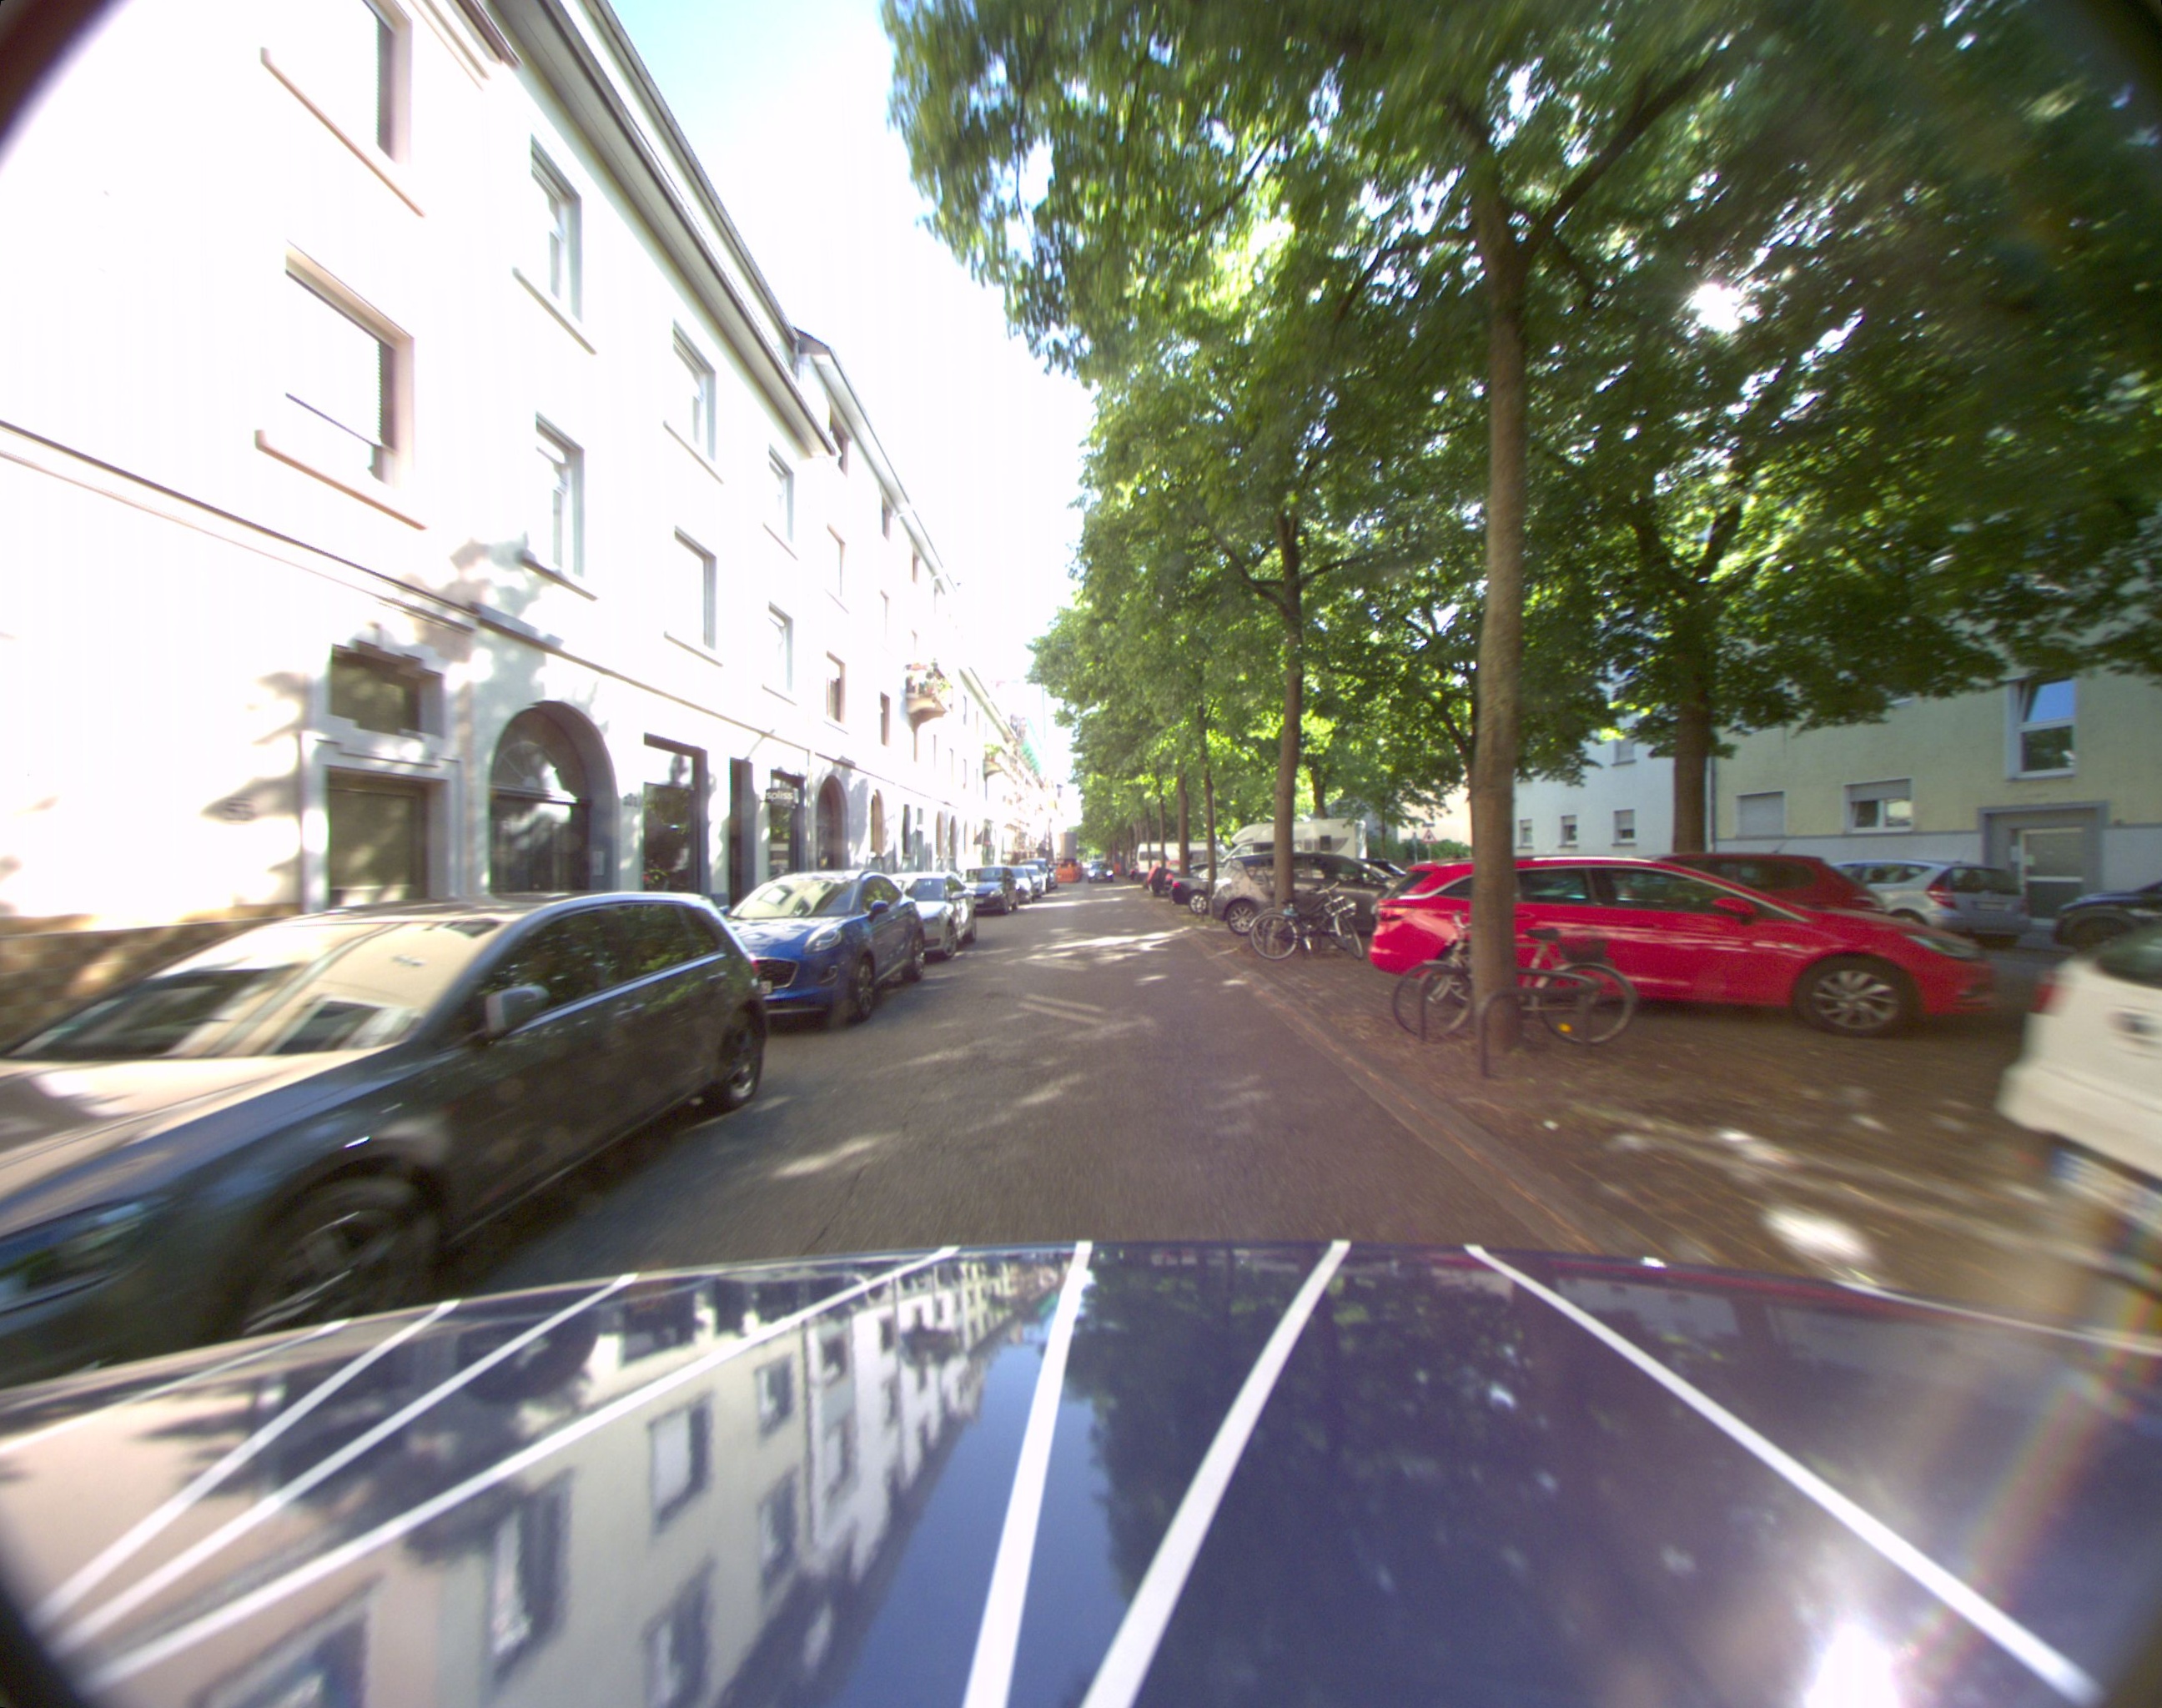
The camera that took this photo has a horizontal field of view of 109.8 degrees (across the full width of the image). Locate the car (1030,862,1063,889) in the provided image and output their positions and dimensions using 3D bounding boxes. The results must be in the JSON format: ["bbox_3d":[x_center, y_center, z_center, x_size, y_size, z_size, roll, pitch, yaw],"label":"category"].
[{"bbox_3d":[-2.038,1.261,45.891,1.709,1.502,4.284,0,0,1],"label":"car"}]

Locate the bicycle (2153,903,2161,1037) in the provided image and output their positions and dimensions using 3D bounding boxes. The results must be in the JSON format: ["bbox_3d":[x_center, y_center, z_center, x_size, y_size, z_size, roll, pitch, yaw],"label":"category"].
[{"bbox_3d":[9.574,0.920,5.882,1.756,1.081,0.389,-1,0,7],"label":"bicycle"}]

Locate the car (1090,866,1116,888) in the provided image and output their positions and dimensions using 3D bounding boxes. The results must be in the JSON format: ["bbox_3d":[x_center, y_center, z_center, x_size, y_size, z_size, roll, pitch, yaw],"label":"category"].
[{"bbox_3d":[1.618,1.646,54.644,1.792,1.510,4.001,0,0,4],"label":"car"}]

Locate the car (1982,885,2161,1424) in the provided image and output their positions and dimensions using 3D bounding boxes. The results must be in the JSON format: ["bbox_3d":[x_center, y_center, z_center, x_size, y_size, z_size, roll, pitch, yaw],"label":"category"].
[{"bbox_3d":[4.862,0.872,1.412,3.685,1.586,1.776,-2,0,26],"label":"car"}]

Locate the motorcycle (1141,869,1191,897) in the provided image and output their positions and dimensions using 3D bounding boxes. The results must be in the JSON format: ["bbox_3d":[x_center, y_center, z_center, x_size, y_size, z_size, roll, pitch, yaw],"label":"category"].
[{"bbox_3d":[4.245,1.446,38.118,2.326,1.327,0.968,0,0,-8],"label":"motorcycle"}]

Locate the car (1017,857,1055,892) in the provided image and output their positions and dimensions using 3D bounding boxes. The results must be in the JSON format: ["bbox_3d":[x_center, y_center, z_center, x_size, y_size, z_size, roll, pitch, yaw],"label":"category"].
[{"bbox_3d":[-2.354,1.040,40.678,1.775,1.783,3.990,0,0,0],"label":"car"}]

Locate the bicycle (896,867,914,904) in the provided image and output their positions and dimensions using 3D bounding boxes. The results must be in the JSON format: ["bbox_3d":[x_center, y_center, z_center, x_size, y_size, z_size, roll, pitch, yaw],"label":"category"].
[{"bbox_3d":[-5.882,1.029,25.425,0.408,1.179,1.847,-1,0,-8],"label":"bicycle"}]

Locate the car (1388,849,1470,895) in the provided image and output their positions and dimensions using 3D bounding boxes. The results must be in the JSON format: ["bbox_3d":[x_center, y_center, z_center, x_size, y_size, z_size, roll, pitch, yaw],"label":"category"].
[{"bbox_3d":[16.002,0.812,35.190,1.998,2.002,4.000,0,0,1],"label":"car"}]

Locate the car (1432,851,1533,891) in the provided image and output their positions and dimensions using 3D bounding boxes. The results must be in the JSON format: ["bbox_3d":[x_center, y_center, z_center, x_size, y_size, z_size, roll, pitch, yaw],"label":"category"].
[{"bbox_3d":[15.769,0.655,30.069,1.754,1.427,4.081,1,-1,-1],"label":"car"}]

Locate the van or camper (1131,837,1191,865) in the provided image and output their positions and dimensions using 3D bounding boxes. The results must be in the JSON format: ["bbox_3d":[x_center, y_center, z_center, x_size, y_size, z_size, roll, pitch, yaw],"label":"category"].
[{"bbox_3d":[8.682,-0.332,82.705,6.017,2.984,2.404,0,0,30],"label":"van or camper"}]

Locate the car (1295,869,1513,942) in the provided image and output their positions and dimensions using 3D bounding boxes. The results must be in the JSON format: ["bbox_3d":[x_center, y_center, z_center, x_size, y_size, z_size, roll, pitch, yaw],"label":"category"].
[{"bbox_3d":[7.174,1.083,17.013,4.187,1.383,1.822,-1,0,35],"label":"car"}]

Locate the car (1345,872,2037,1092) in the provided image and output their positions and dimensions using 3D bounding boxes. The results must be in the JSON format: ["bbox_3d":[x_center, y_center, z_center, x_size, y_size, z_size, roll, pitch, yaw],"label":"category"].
[{"bbox_3d":[5.137,0.982,7.250,4.617,1.477,1.764,-2,0,32],"label":"car"}]

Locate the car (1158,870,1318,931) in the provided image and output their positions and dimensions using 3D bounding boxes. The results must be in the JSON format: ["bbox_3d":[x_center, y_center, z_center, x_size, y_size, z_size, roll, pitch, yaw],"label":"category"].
[{"bbox_3d":[4.267,1.204,20.927,4.008,1.465,1.630,0,0,36],"label":"car"}]

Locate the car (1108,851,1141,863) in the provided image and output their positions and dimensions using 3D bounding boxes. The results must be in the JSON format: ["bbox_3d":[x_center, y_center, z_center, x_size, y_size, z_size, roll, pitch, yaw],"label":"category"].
[{"bbox_3d":[5.257,0.347,91.204,3.559,1.240,1.661,-3,-1,31],"label":"car"}]

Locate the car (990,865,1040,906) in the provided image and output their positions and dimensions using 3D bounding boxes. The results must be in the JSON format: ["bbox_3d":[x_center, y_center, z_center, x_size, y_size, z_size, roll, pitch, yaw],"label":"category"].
[{"bbox_3d":[-2.500,1.170,29.559,1.603,1.484,3.967,0,0,0],"label":"car"}]

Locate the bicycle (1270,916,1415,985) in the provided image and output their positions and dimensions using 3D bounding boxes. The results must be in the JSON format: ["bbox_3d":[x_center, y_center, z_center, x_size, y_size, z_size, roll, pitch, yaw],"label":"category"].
[{"bbox_3d":[3.713,1.357,10.847,1.900,0.913,0.379,-2,0,21],"label":"bicycle"}]

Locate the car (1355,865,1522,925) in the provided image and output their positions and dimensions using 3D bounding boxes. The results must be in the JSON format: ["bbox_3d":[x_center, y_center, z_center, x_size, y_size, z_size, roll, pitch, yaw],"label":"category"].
[{"bbox_3d":[9.803,1.117,21.073,3.990,1.477,1.833,-2,0,24],"label":"car"}]

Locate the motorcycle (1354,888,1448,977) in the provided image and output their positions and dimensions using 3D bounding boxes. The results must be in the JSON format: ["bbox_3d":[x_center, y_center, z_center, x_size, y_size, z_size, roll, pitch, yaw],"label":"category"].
[{"bbox_3d":[5.003,1.188,11.847,1.518,1.247,0.642,0,0,-36],"label":"motorcycle"}]

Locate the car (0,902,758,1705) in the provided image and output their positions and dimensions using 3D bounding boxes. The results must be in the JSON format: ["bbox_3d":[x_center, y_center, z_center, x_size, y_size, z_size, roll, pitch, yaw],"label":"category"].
[{"bbox_3d":[-3.086,1.075,3.112,1.696,1.459,4.005,-2,0,1],"label":"car"}]

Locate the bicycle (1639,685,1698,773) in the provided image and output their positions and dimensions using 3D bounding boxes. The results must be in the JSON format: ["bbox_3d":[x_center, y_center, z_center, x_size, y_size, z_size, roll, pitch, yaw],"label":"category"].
[{"bbox_3d":[9.768,-2.038,12.685,0.355,1.193,1.804,-2,0,25],"label":"bicycle"}]

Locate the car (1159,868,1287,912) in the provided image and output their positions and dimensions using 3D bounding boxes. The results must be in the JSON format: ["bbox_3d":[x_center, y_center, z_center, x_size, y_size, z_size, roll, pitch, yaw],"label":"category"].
[{"bbox_3d":[5.041,1.246,27.229,4.146,1.417,1.718,-1,1,33],"label":"car"}]

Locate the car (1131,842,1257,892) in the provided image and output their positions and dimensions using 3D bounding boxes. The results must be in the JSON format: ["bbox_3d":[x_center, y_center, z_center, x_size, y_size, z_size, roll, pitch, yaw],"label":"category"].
[{"bbox_3d":[6.091,0.731,41.272,6.311,2.544,2.342,-1,1,33],"label":"car"}]

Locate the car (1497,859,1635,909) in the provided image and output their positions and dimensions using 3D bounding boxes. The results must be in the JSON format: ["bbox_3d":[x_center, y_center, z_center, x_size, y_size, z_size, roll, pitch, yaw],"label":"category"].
[{"bbox_3d":[15.657,0.918,24.831,1.648,1.391,4.304,-3,0,-1],"label":"car"}]

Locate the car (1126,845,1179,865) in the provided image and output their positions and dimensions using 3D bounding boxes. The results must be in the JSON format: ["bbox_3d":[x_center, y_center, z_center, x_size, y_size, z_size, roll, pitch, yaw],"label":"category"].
[{"bbox_3d":[8.903,0.149,94.869,6.185,2.496,2.143,0,0,28],"label":"car"}]

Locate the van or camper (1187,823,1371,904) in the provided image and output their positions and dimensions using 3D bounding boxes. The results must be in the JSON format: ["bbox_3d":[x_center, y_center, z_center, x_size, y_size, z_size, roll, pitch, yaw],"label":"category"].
[{"bbox_3d":[7.473,0.430,28.967,6.290,2.808,2.412,-2,0,30],"label":"van or camper"}]

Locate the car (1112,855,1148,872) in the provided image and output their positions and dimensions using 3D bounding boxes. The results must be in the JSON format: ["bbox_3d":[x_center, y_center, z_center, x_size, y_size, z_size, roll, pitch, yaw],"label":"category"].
[{"bbox_3d":[6.436,1.277,100.538,4.386,2.155,1.774,0,0,28],"label":"car"}]

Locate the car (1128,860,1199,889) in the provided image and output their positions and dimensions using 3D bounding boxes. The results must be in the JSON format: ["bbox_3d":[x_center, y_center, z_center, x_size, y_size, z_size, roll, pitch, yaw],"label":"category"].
[{"bbox_3d":[5.217,1.305,48.297,4.091,1.516,1.705,-5,-2,31],"label":"car"}]

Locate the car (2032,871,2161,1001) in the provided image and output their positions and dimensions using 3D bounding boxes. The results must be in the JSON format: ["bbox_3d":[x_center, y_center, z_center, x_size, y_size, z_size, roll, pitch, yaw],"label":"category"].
[{"bbox_3d":[15.504,1.118,9.764,1.705,1.743,3.838,0,0,-2],"label":"car"}]

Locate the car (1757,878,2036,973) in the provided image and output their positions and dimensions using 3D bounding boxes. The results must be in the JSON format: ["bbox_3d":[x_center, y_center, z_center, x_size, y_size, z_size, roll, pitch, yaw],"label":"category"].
[{"bbox_3d":[15.703,1.291,14.933,1.620,1.566,3.579,1,0,-1],"label":"car"}]

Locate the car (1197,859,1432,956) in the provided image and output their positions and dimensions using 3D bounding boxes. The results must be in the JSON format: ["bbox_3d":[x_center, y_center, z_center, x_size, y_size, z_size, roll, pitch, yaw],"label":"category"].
[{"bbox_3d":[4.568,1.006,14.911,4.079,1.643,1.866,-2,0,28],"label":"car"}]

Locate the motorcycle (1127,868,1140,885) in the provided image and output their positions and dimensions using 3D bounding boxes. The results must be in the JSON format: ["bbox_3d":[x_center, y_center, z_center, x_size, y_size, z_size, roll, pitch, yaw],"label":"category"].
[{"bbox_3d":[4.463,1.893,64.247,0.631,1.316,2.232,0,0,16],"label":"motorcycle"}]

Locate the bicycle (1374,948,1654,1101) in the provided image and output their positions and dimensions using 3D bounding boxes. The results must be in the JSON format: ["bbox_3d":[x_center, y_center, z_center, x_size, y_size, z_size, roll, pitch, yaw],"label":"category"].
[{"bbox_3d":[3.239,1.264,5.832,1.813,0.988,0.426,-1,0,16],"label":"bicycle"}]

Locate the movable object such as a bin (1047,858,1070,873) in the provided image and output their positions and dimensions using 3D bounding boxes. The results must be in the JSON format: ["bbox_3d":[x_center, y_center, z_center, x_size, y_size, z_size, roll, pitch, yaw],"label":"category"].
[{"bbox_3d":[-2.406,1.235,82.621,1.872,1.517,1.631,0,0,35],"label":"movable object such as a bin"}]

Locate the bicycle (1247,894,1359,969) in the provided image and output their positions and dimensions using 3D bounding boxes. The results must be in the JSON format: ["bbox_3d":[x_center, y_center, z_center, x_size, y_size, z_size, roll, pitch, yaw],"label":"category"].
[{"bbox_3d":[3.603,1.245,12.359,1.687,1.152,0.379,-2,0,21],"label":"bicycle"}]

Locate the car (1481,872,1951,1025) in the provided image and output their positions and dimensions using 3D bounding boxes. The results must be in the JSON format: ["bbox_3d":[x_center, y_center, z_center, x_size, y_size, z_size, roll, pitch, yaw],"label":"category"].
[{"bbox_3d":[7.302,0.998,9.370,4.105,1.464,1.875,-1,0,30],"label":"car"}]

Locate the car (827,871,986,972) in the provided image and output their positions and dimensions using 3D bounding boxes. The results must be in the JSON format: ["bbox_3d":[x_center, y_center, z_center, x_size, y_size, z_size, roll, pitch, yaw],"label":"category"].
[{"bbox_3d":[-2.925,1.076,13.713,1.774,1.423,4.291,-1,0,1],"label":"car"}]

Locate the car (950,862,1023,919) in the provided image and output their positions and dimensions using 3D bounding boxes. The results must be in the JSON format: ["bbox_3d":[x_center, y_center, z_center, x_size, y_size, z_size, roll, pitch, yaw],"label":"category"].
[{"bbox_3d":[-2.853,1.067,23.737,1.584,1.541,4.042,-1,0,2],"label":"car"}]

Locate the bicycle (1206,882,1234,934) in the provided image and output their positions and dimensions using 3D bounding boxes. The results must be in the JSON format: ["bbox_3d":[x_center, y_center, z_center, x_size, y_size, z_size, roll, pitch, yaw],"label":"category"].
[{"bbox_3d":[3.384,1.285,18.419,0.428,1.124,1.681,-1,0,17],"label":"bicycle"}]

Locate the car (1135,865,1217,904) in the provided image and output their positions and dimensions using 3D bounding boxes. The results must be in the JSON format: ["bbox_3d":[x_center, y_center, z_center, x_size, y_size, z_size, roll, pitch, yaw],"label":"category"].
[{"bbox_3d":[4.196,1.299,34.084,1.666,1.608,3.871,0,0,-31],"label":"car"}]

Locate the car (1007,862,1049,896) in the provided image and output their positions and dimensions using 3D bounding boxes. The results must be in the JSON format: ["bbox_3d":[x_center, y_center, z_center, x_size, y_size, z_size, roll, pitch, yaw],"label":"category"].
[{"bbox_3d":[-2.373,1.102,34.929,1.611,1.412,4.568,0,0,0],"label":"car"}]

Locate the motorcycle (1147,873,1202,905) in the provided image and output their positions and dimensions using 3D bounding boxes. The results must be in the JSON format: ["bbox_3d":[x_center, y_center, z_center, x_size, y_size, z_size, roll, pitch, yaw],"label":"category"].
[{"bbox_3d":[3.778,1.394,30.654,2.151,1.222,0.882,-1,0,10],"label":"motorcycle"}]

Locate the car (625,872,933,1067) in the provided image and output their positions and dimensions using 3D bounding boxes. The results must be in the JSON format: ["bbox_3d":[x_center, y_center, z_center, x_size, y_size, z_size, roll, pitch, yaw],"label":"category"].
[{"bbox_3d":[-3.037,1.057,8.709,1.771,1.542,4.183,-3,0,0],"label":"car"}]
